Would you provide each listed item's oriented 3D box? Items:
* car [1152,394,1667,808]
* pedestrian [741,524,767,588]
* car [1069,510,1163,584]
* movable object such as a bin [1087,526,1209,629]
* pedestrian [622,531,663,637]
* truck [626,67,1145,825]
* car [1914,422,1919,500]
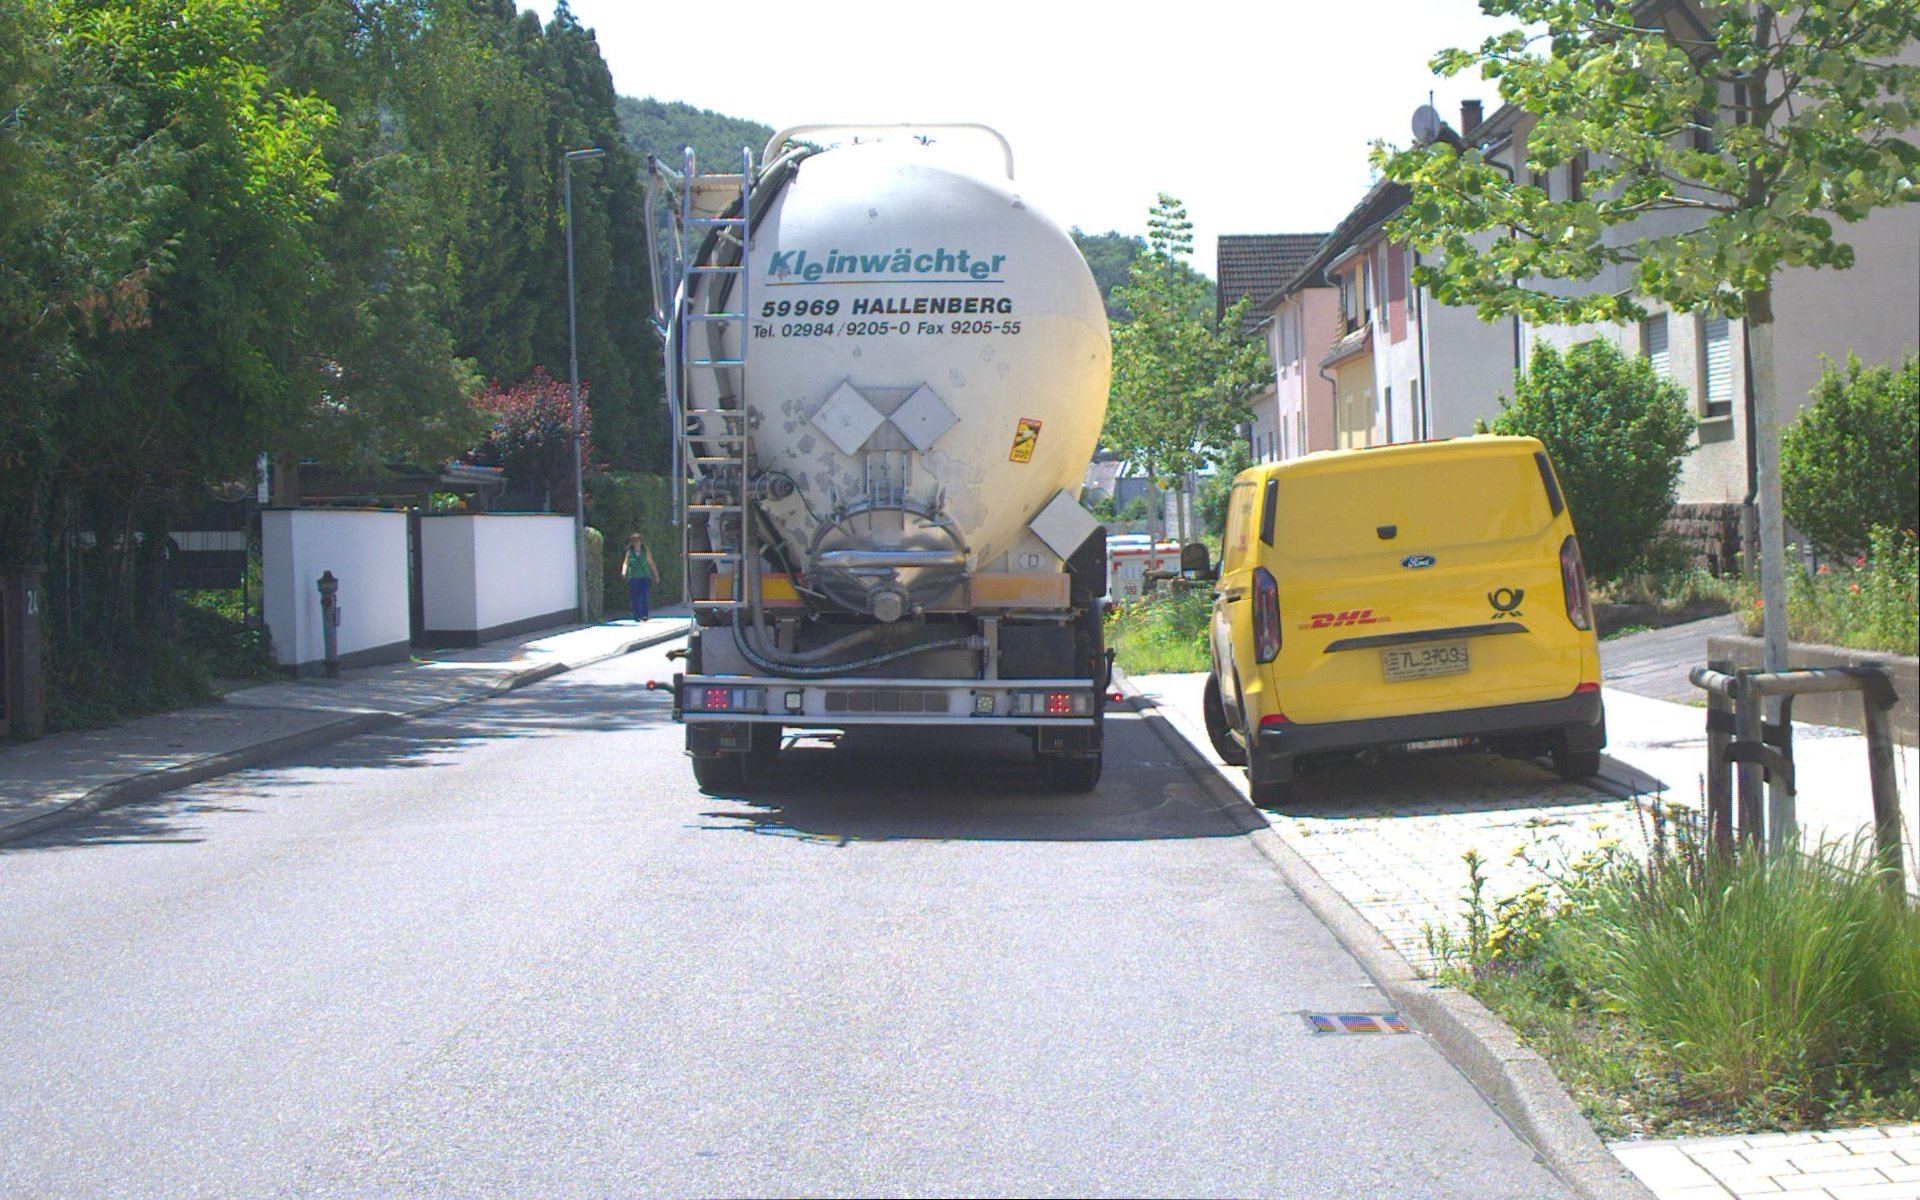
[{"bbox_3d":[2.559,-0.007,21.177,2.189,2.007,5.623,-6,0,-1],"label":"car"},{"bbox_3d":[-5.826,-1.237,97.361,0.712,1.817,0.898,0,0,-3],"label":"pedestrian"},{"bbox_3d":[3.346,-1.117,74.404,1.756,1.413,4.633,-3,0,0],"label":"car"},{"bbox_3d":[2.758,-0.330,50.889,1.571,1.412,3.041,-2,0,0],"label":"movable object such as a bin"},{"bbox_3d":[-6.024,-0.300,65.262,0.720,2.007,0.804,0,0,0],"label":"pedestrian"},{"bbox_3d":[-0.408,-0.938,23.926,2.750,4.043,10.890,-1,1,0],"label":"truck"},{"bbox_3d":[10.111,-0.801,28.063,3.987,1.671,1.874,-5,1,-2],"label":"car"}]
